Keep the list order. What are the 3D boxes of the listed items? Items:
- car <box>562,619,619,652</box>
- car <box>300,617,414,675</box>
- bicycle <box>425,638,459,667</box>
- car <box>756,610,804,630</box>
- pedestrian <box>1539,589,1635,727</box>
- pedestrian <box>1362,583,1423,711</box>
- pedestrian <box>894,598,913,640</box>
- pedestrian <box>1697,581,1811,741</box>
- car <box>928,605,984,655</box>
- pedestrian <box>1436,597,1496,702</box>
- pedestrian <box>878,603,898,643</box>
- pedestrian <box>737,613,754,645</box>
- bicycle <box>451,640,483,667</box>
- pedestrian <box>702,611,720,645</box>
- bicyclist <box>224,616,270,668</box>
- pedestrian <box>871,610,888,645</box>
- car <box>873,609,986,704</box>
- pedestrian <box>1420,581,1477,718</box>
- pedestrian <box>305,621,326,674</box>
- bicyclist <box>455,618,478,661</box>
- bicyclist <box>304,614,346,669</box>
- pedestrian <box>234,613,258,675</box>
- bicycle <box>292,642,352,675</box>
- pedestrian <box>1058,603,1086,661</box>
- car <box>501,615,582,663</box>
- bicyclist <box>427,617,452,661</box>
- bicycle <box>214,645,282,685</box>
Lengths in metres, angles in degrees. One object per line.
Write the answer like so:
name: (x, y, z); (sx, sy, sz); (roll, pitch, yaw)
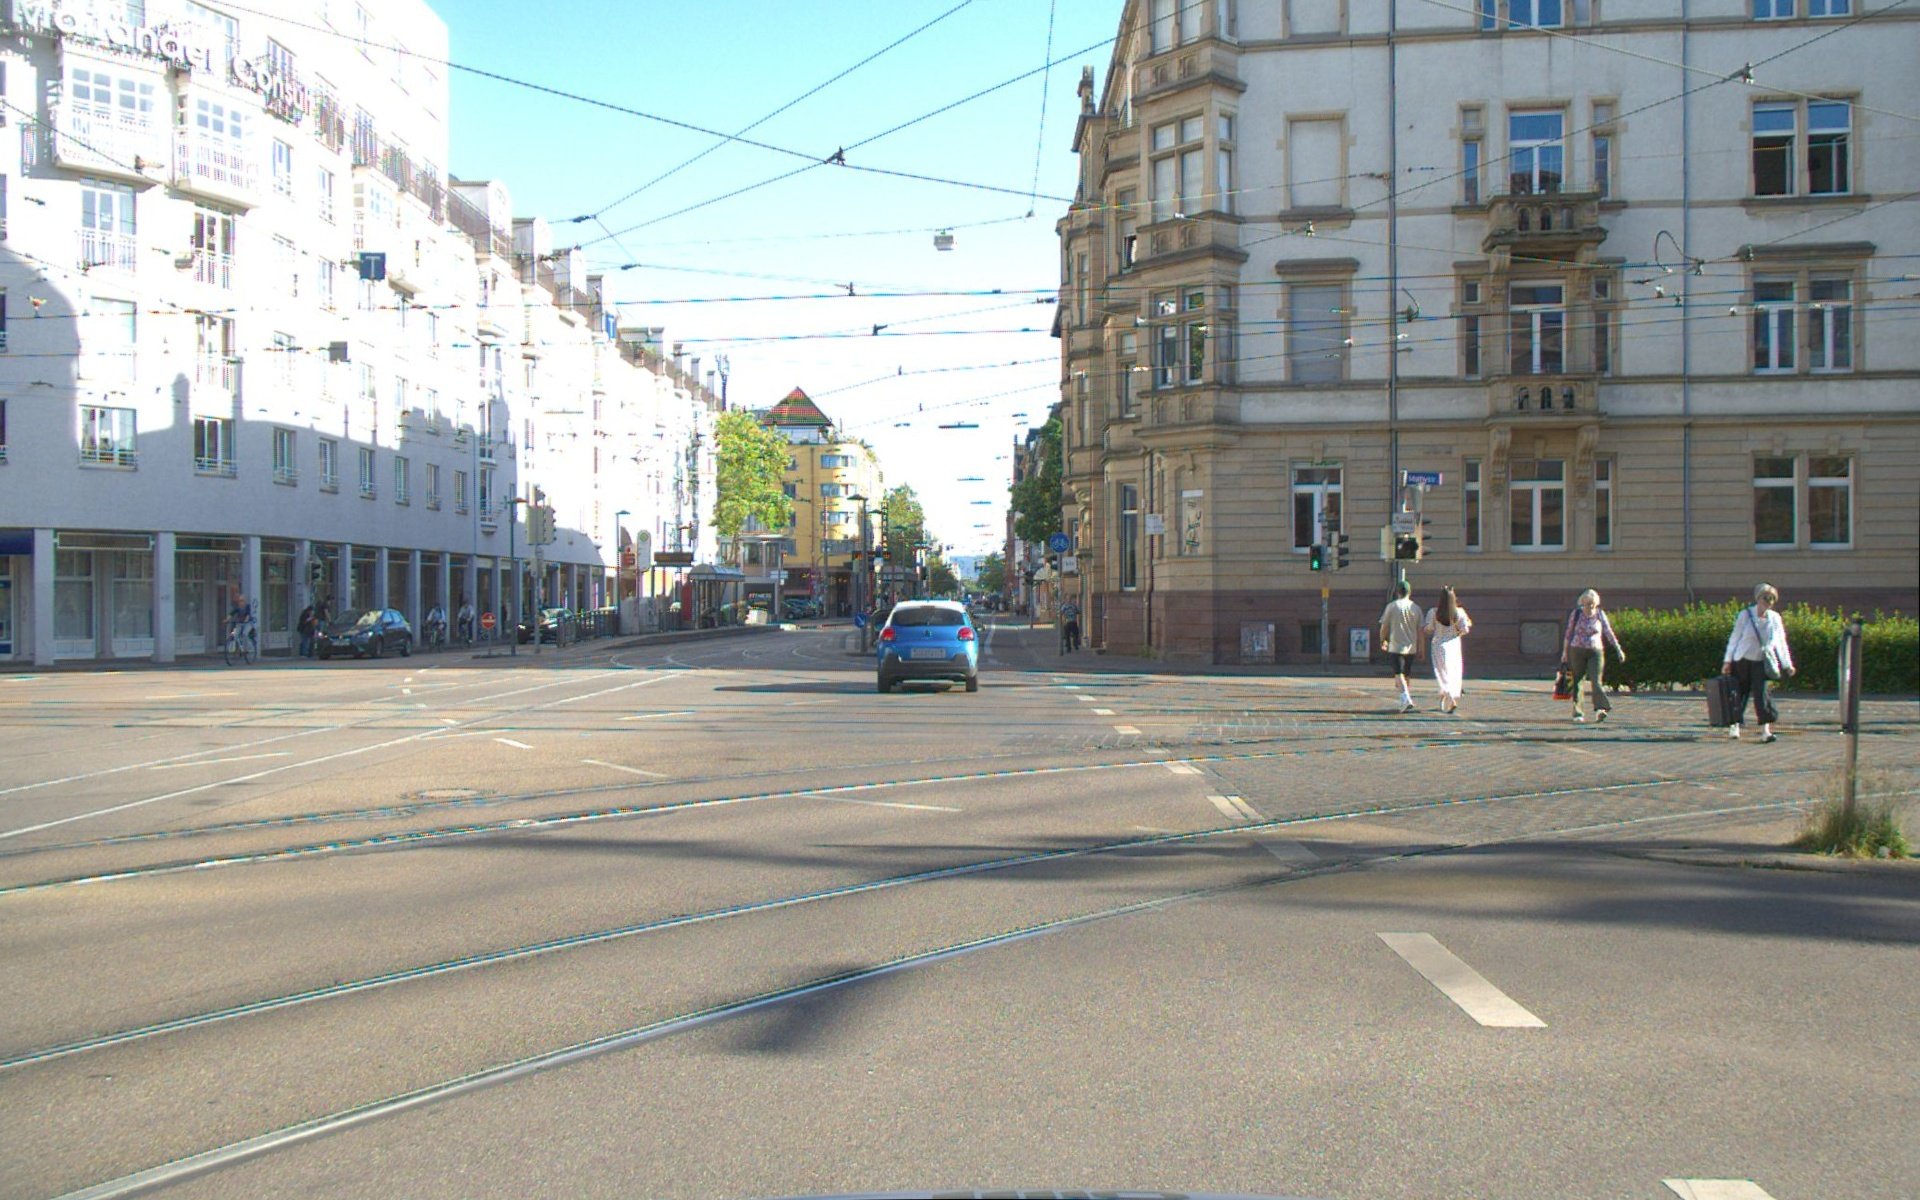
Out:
car: (-17.320, 1.653, 77.695); (1.693, 1.541, 4.404); (0, -1, 0)
car: (-17.599, 1.355, 48.463); (1.953, 1.624, 3.998); (0, -2, -1)
bicycle: (-18.172, 1.838, 58.026); (0.582, 0.989, 2.011); (0, -2, -1)
car: (-15.424, 1.691, 141.889); (3.907, 1.704, 1.957); (0, 0, -2)
pedestrian: (7.755, 0.712, 20.450); (0.906, 1.661, 0.939); (-2, -2, 33)
pedestrian: (5.825, 0.635, 22.274); (0.686, 1.684, 0.631); (-1, -2, 23)
pedestrian: (-2.398, 0.817, 70.155); (0.623, 1.727, 0.934); (1, -2, 8)
pedestrian: (8.485, 0.651, 17.721); (0.903, 1.661, 1.010); (-1, -2, 16)
car: (-0.115, 1.141, 61.601); (1.952, 1.773, 4.000); (1, -2, 1)
pedestrian: (7.734, 0.753, 25.278); (0.621, 1.564, 0.939); (-2, -2, 32)
pedestrian: (-3.285, 1.025, 75.334); (0.705, 1.808, 0.563); (-1, -1, 37)
pedestrian: (-10.749, 1.431, 82.836); (0.716, 1.586, 0.743); (0, 0, 0)
bicycle: (-18.377, 1.976, 61.679); (0.582, 0.989, 2.047); (0, -2, -1)
pedestrian: (-11.747, 1.323, 78.029); (0.716, 1.554, 0.743); (0, 0, 0)
bicyclist: (-18.348, 1.090, 42.569); (0.576, 1.308, 0.992); (-1, -2, 15)
pedestrian: (-3.636, 1.229, 74.672); (0.575, 1.589, 0.468); (-1, -1, 37)
car: (-0.459, 0.912, 28.159); (1.744, 1.476, 3.654); (1, -1, 1)
pedestrian: (6.511, 0.658, 22.034); (0.630, 1.776, 0.705); (1, -2, 22)
pedestrian: (-19.358, 1.409, 49.674); (0.437, 1.561, 0.675); (0, 1, -36)
bicyclist: (-18.363, 1.474, 61.556); (0.576, 1.613, 0.895); (0, -2, -1)
bicyclist: (-19.910, 1.295, 51.852); (0.708, 1.725, 1.027); (-1, -1, 29)
pedestrian: (-22.119, 1.355, 51.213); (0.451, 1.864, 0.745); (0, 1, -4)
bicycle: (-19.948, 1.815, 51.733); (0.663, 0.997, 1.759); (-1, -1, 28)
pedestrian: (3.504, 1.001, 51.848); (0.764, 1.780, 1.093); (0, 1, -2)
car: (-17.380, 1.593, 68.840); (2.181, 1.944, 4.608); (0, -1, 0)
bicyclist: (-18.196, 1.365, 57.839); (0.576, 1.514, 0.927); (0, -2, -1)
bicycle: (-18.345, 1.668, 42.649); (0.581, 0.989, 1.856); (-1, -2, 15)
